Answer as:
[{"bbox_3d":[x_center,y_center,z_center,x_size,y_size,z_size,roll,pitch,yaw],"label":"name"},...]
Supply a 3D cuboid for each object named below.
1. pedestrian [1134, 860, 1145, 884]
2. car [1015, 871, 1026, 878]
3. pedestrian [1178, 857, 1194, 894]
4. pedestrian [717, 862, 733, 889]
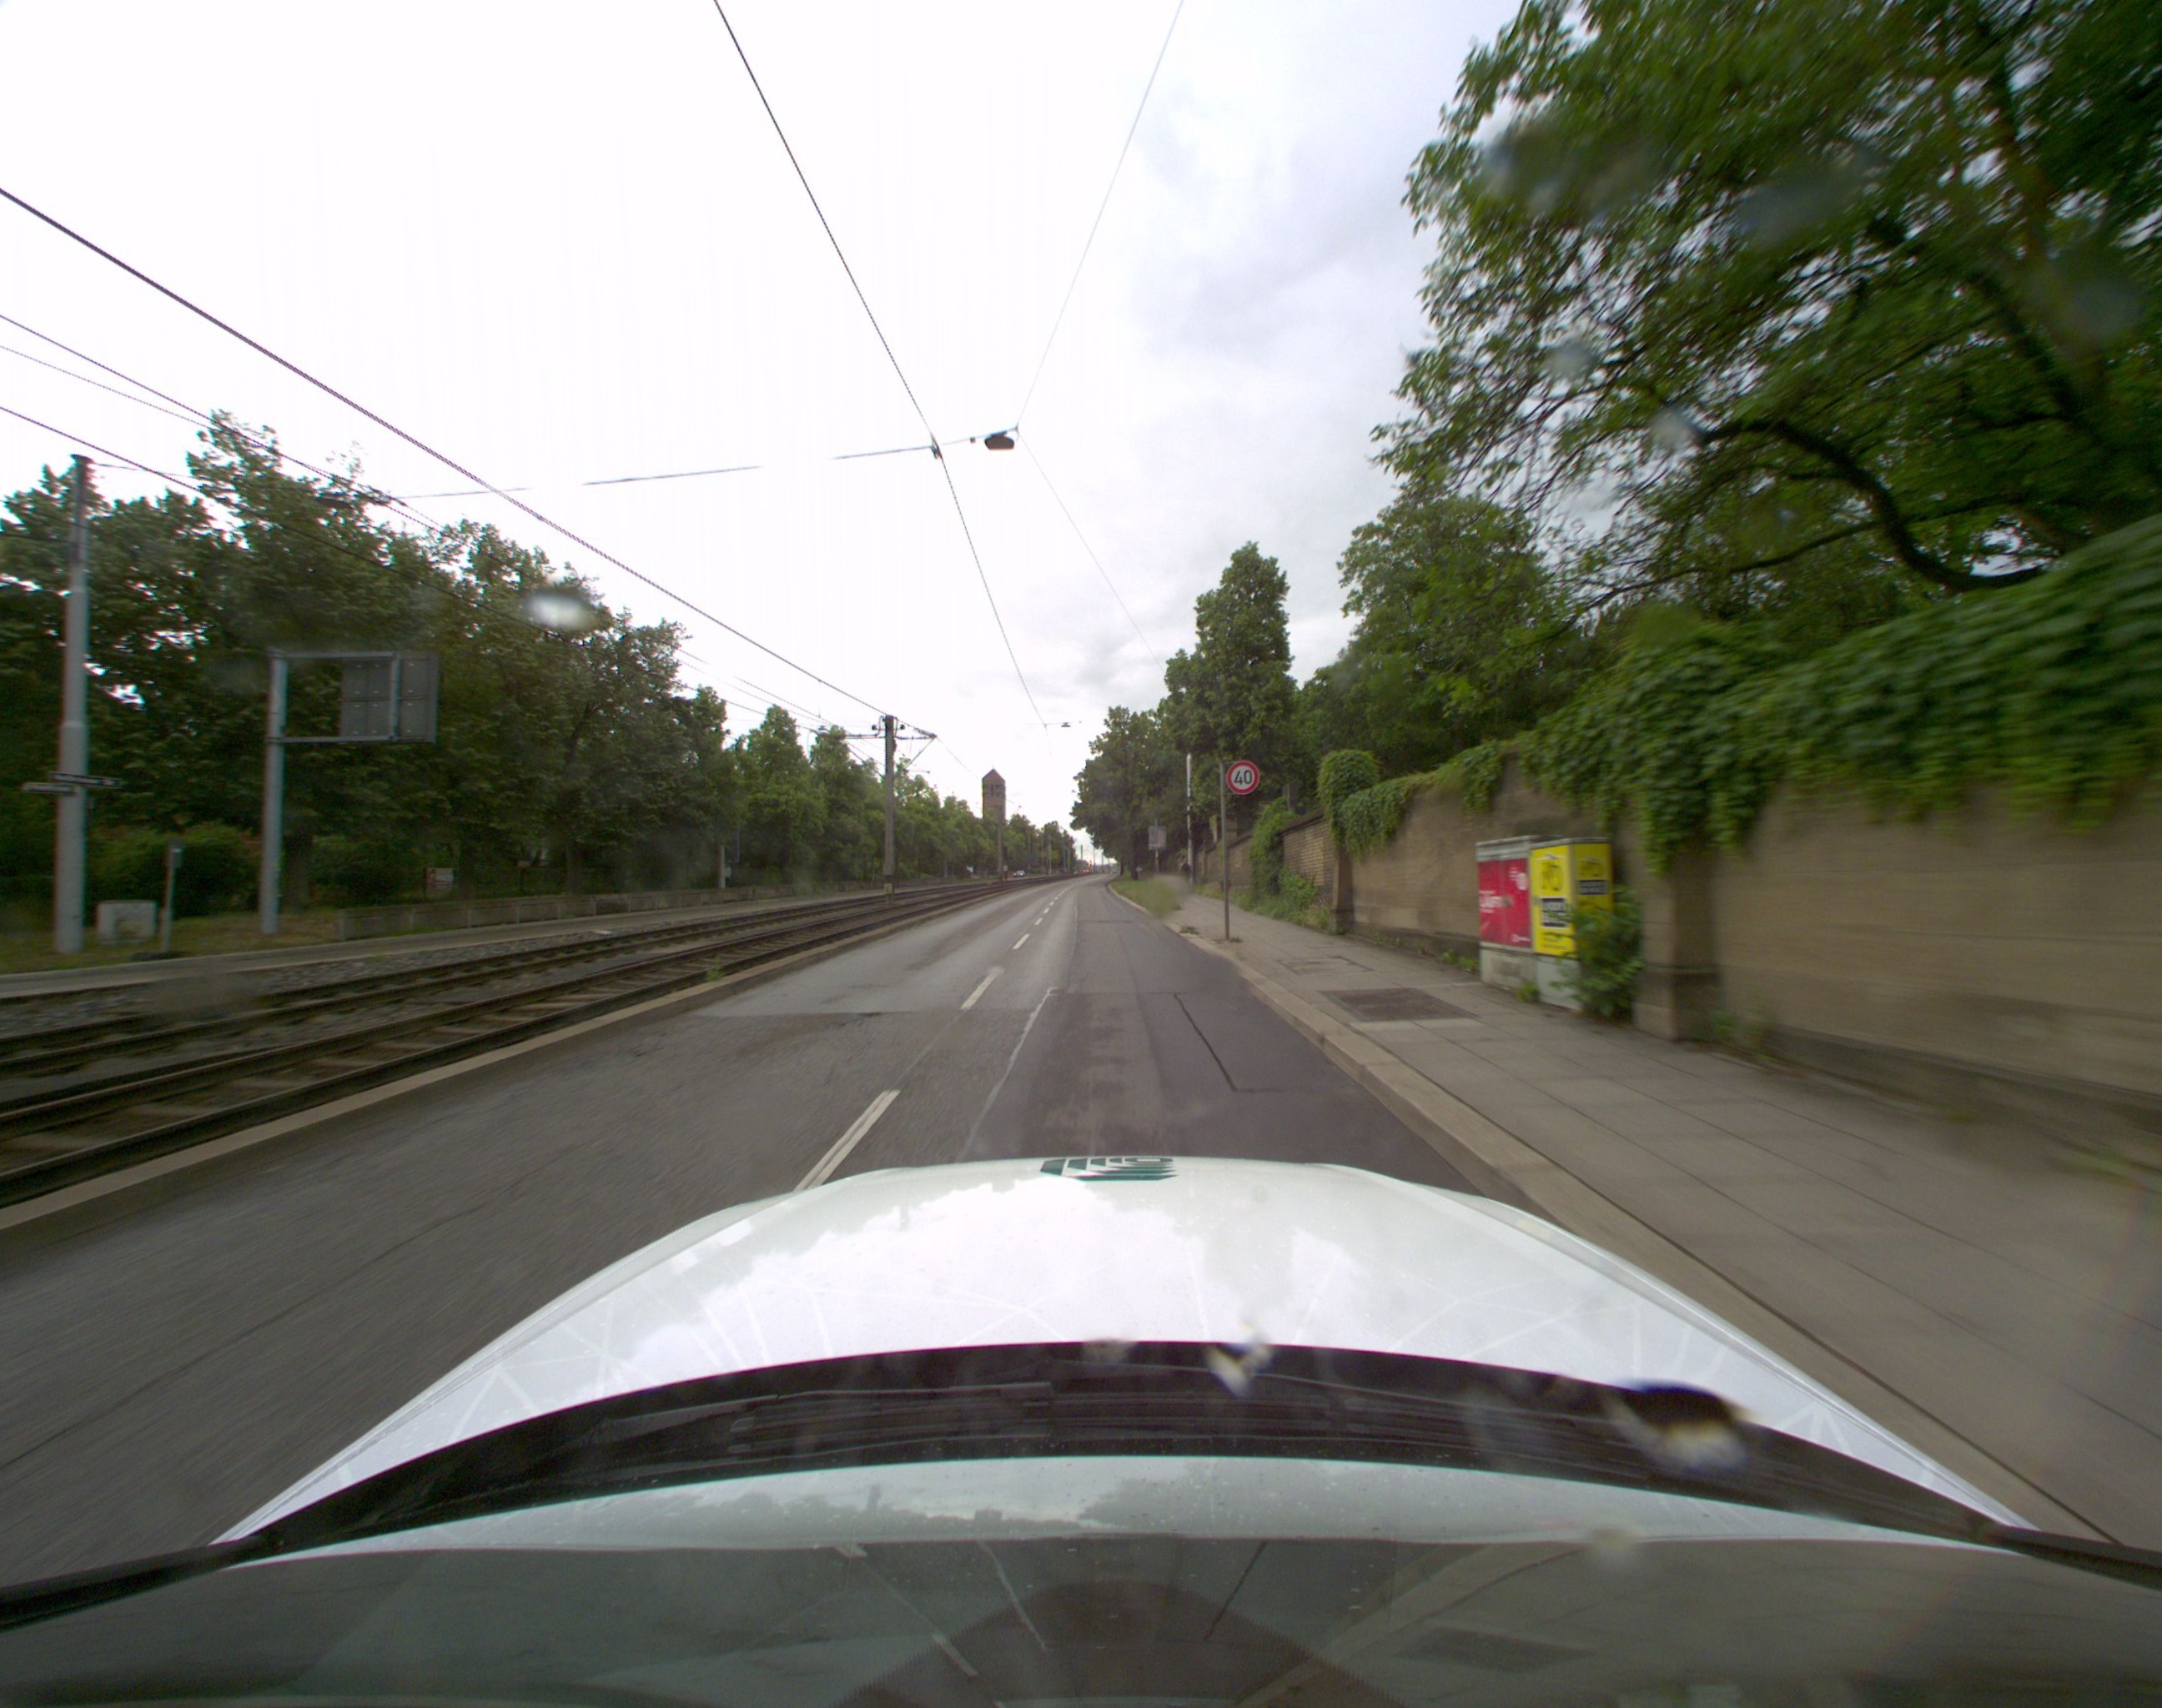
[{"bbox_3d":[4.155,1.259,57.735,0.717,1.687,0.729,-1,-1,2],"label":"pedestrian"},{"bbox_3d":[-12.789,4.317,172.588,1.787,1.510,3.851,-2,0,2],"label":"car"},{"bbox_3d":[5.423,1.106,42.160,0.717,1.850,0.783,-1,-1,2],"label":"pedestrian"},{"bbox_3d":[-23.032,1.401,52.650,0.645,1.661,0.650,-3,0,3],"label":"pedestrian"}]
